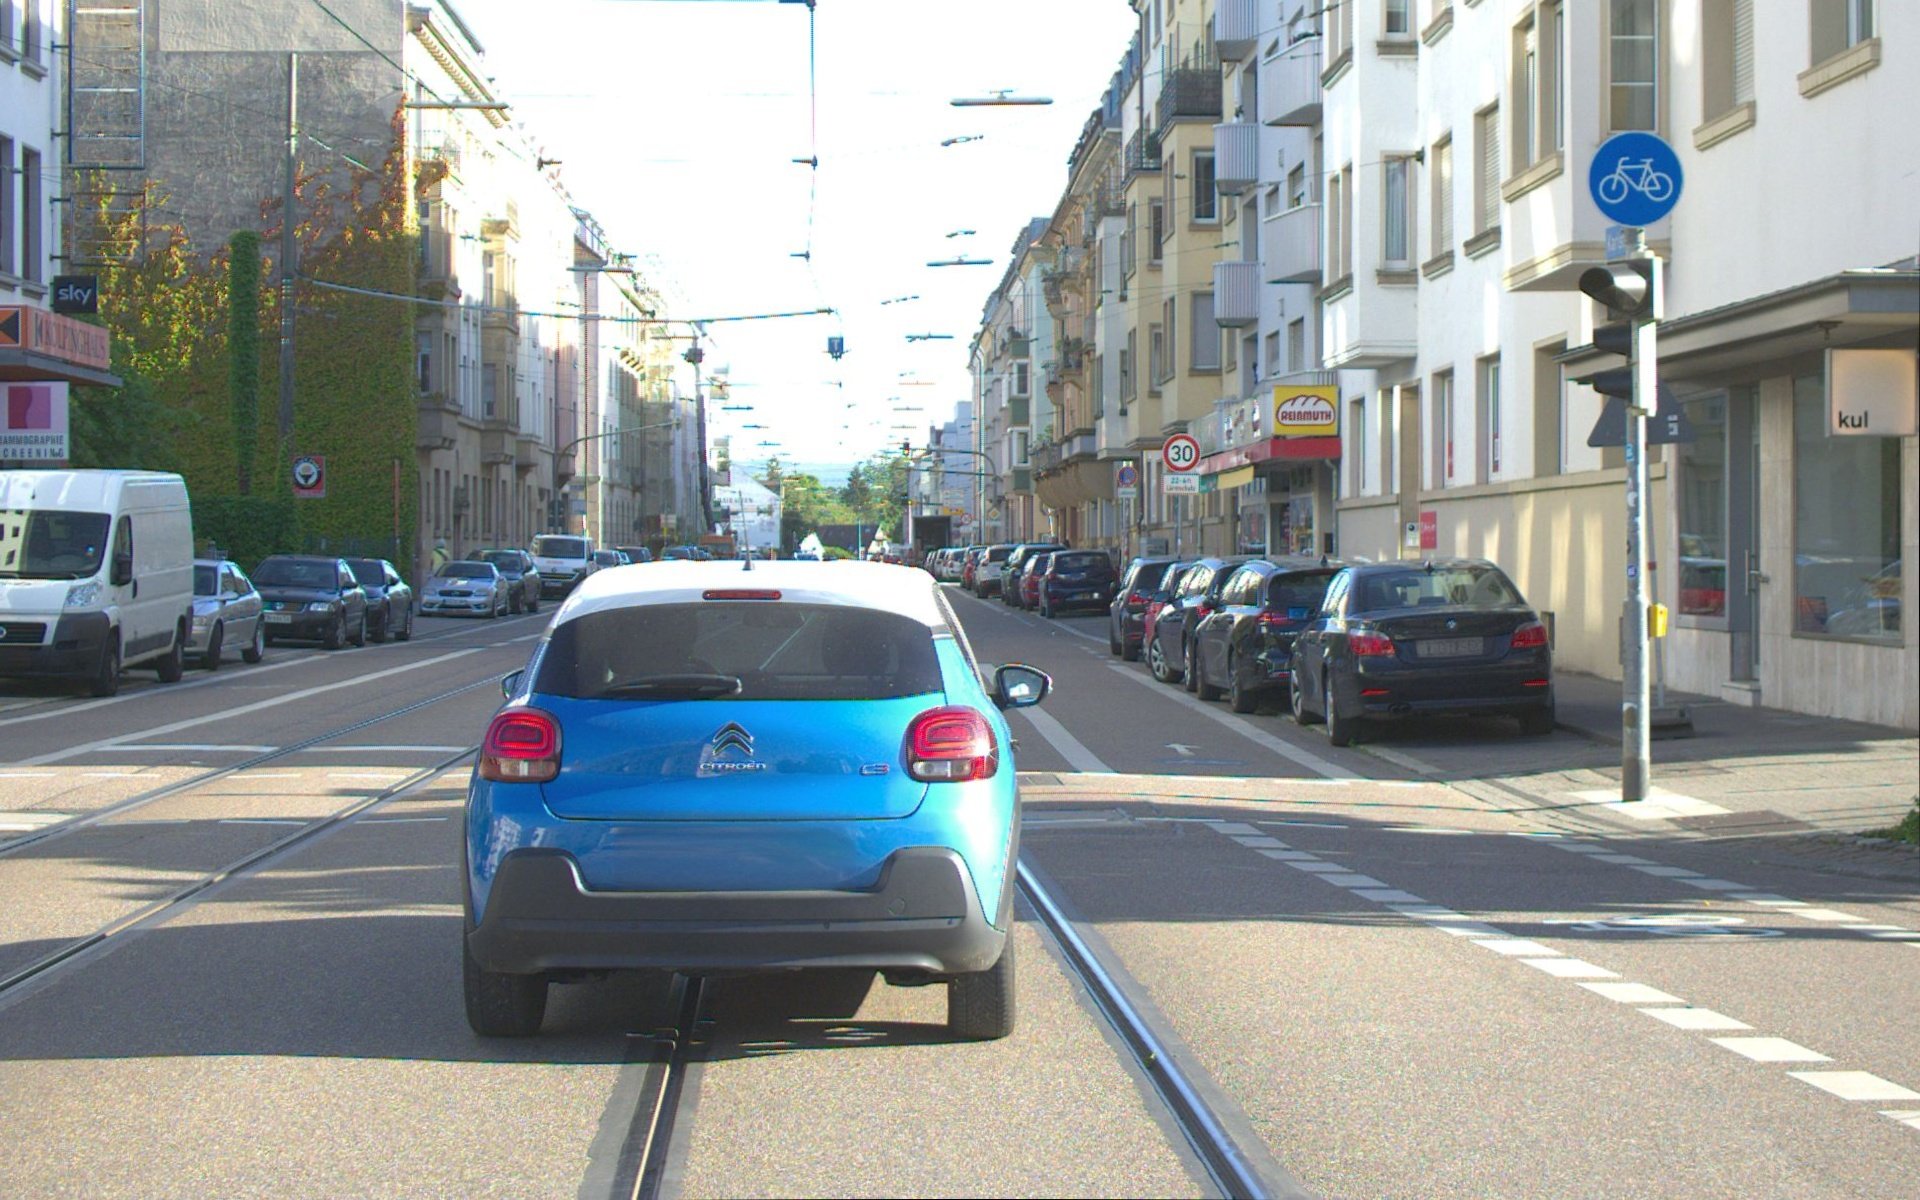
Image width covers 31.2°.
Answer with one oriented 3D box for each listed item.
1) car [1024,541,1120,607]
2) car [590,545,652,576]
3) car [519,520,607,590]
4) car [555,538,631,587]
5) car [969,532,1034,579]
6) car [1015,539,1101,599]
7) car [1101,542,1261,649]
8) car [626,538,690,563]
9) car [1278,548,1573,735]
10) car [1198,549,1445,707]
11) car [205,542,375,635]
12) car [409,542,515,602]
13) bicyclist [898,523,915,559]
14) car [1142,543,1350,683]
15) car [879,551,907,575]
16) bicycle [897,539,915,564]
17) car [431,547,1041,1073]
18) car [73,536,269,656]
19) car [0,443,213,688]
[{"bbox_3d":[2.508,-0.610,78.130,1.993,1.459,4.505,0,1,0],"label":"car"},{"bbox_3d":[-12.835,-1.506,130.269,1.993,1.152,4.000,0,1,0],"label":"car"},{"bbox_3d":[-11.876,-1.331,103.048,2.006,2.007,4.689,1,0,1],"label":"car"},{"bbox_3d":[-12.005,-1.212,112.667,1.955,1.547,3.938,1,0,1],"label":"car"},{"bbox_3d":[1.297,-1.413,109.169,1.993,1.459,4.000,0,1,0],"label":"car"},{"bbox_3d":[2.410,-0.779,85.703,1.993,1.459,4.000,0,1,0],"label":"car"},{"bbox_3d":[3.117,-0.092,49.175,1.993,1.459,4.000,0,1,0],"label":"car"},{"bbox_3d":[-14.122,-2.325,160.910,1.994,1.152,4.513,0,1,8],"label":"car"},{"bbox_3d":[3.820,0.294,28.859,1.909,1.459,4.000,0,1,0],"label":"car"},{"bbox_3d":[3.499,0.232,34.001,1.993,1.459,4.000,0,1,0],"label":"car"},{"bbox_3d":[-10.525,-0.192,54.261,1.993,1.393,4.157,1,0,-2],"label":"car"},{"bbox_3d":[-11.463,-0.647,79.385,1.993,1.320,3.923,1,0,-2],"label":"car"},{"bbox_3d":[-2.980,-3.278,191.527,0.809,2.007,0.922,1,0,4],"label":"bicyclist"},{"bbox_3d":[3.180,0.110,38.939,1.993,1.496,4.000,0,1,0],"label":"car"},{"bbox_3d":[-4.938,-2.711,253.263,1.993,1.766,4.000,0,1,-1],"label":"car"},{"bbox_3d":[-2.999,-2.704,191.476,0.920,1.384,3.132,0,1,1],"label":"bicycle"},{"bbox_3d":[-0.684,0.575,11.777,1.728,1.477,3.827,1,1,-1],"label":"car"},{"bbox_3d":[-10.431,-0.065,45.667,1.888,1.491,3.562,1,0,-2],"label":"car"},{"bbox_3d":[-10.083,-0.416,38.891,2.085,2.533,6.206,1,1,-2],"label":"car"}]
